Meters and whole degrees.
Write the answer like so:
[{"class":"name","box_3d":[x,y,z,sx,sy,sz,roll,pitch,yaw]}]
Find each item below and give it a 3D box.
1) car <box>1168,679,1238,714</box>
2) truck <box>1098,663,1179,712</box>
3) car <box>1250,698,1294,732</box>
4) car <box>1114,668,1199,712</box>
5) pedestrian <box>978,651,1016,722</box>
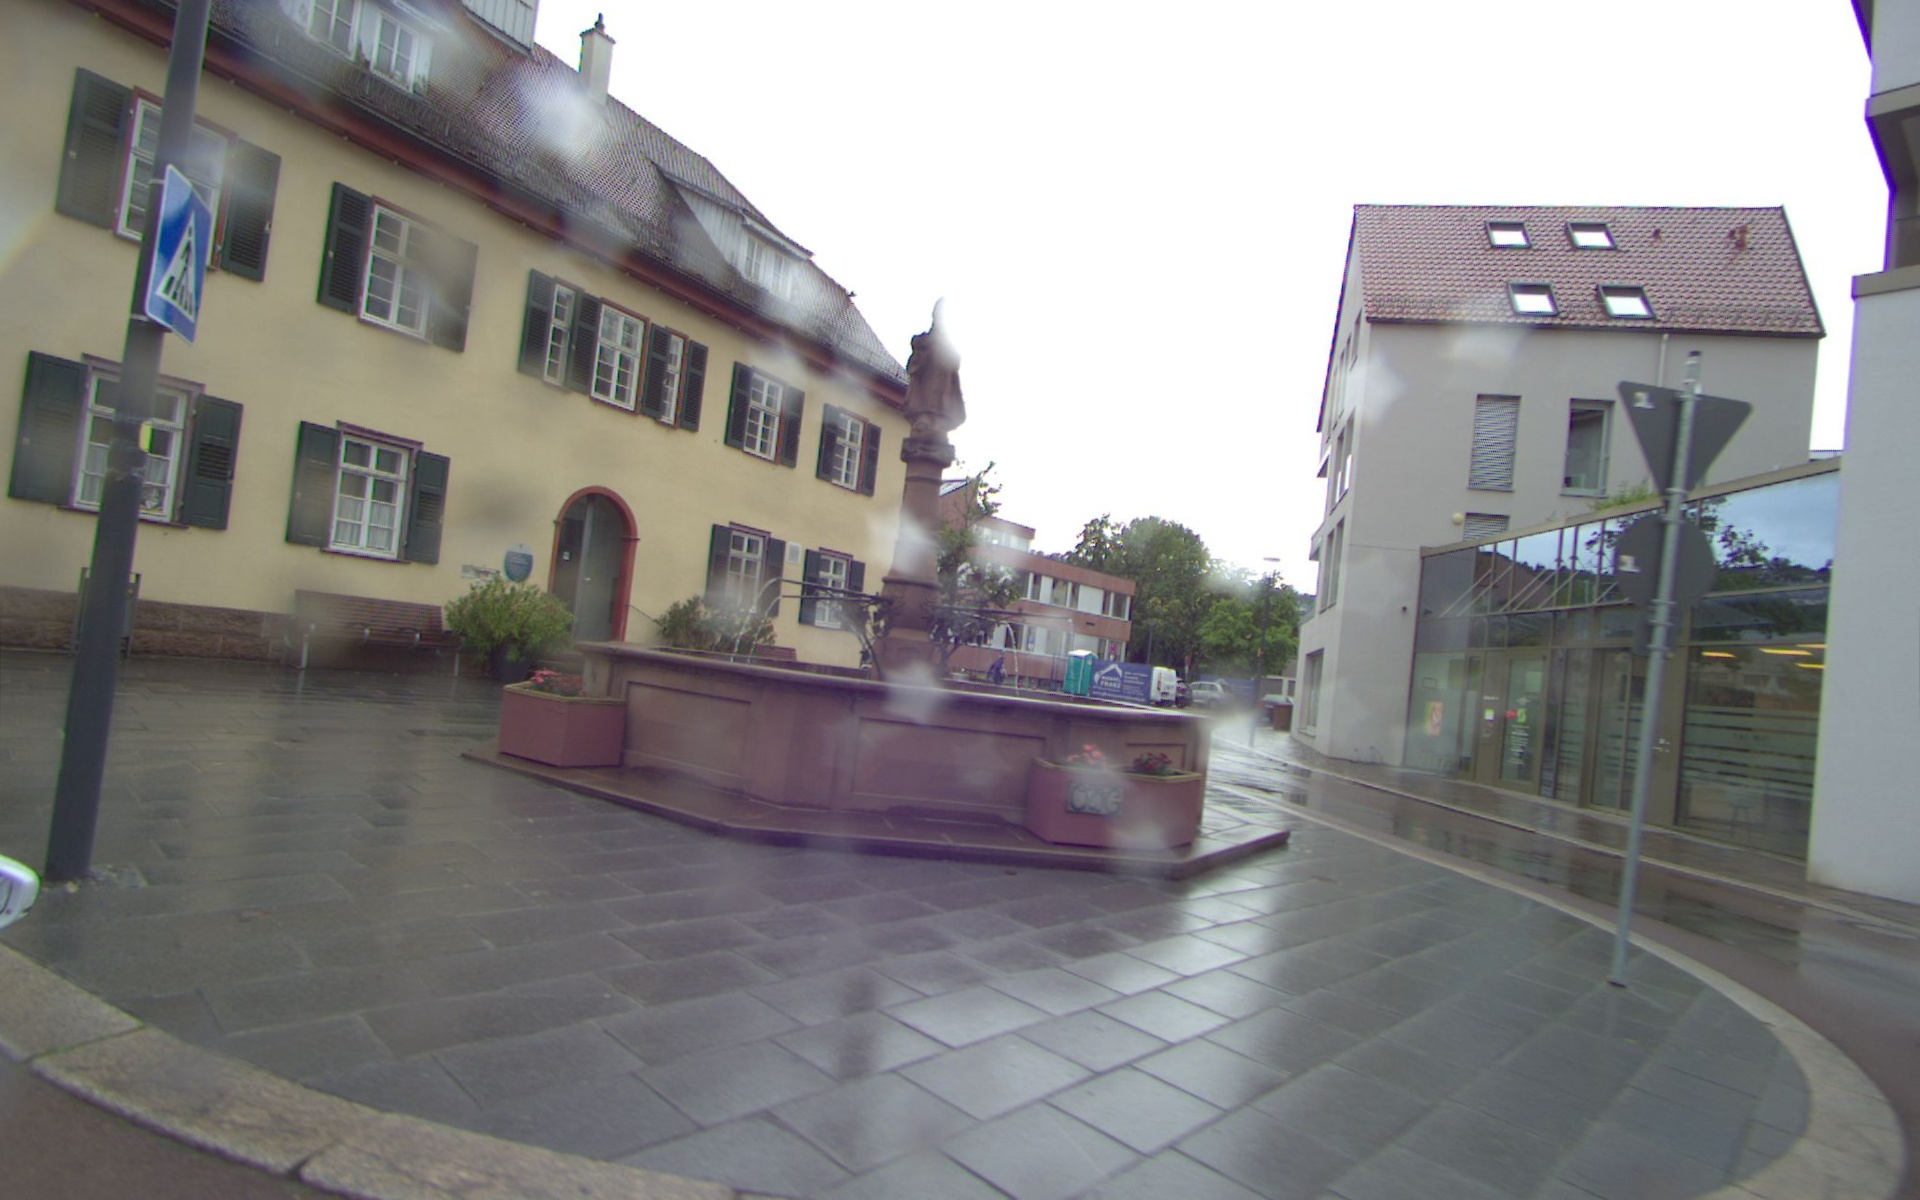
[{"class":"car","box_3d":[14.233,5.636,58.918,3.491,1.566,1.862,6,-2,33]},{"class":"truck","box_3d":[9.211,4.496,51.850,3.491,2.037,1.862,6,-2,33]},{"class":"car","box_3d":[15.658,5.736,50.426,1.642,1.379,3.608,6,-3,23]},{"class":"car","box_3d":[10.681,4.875,54.742,3.934,1.814,1.997,6,-2,32]},{"class":"pedestrian","box_3d":[1.028,2.389,27.793,0.777,1.843,0.687,7,-1,5]}]
